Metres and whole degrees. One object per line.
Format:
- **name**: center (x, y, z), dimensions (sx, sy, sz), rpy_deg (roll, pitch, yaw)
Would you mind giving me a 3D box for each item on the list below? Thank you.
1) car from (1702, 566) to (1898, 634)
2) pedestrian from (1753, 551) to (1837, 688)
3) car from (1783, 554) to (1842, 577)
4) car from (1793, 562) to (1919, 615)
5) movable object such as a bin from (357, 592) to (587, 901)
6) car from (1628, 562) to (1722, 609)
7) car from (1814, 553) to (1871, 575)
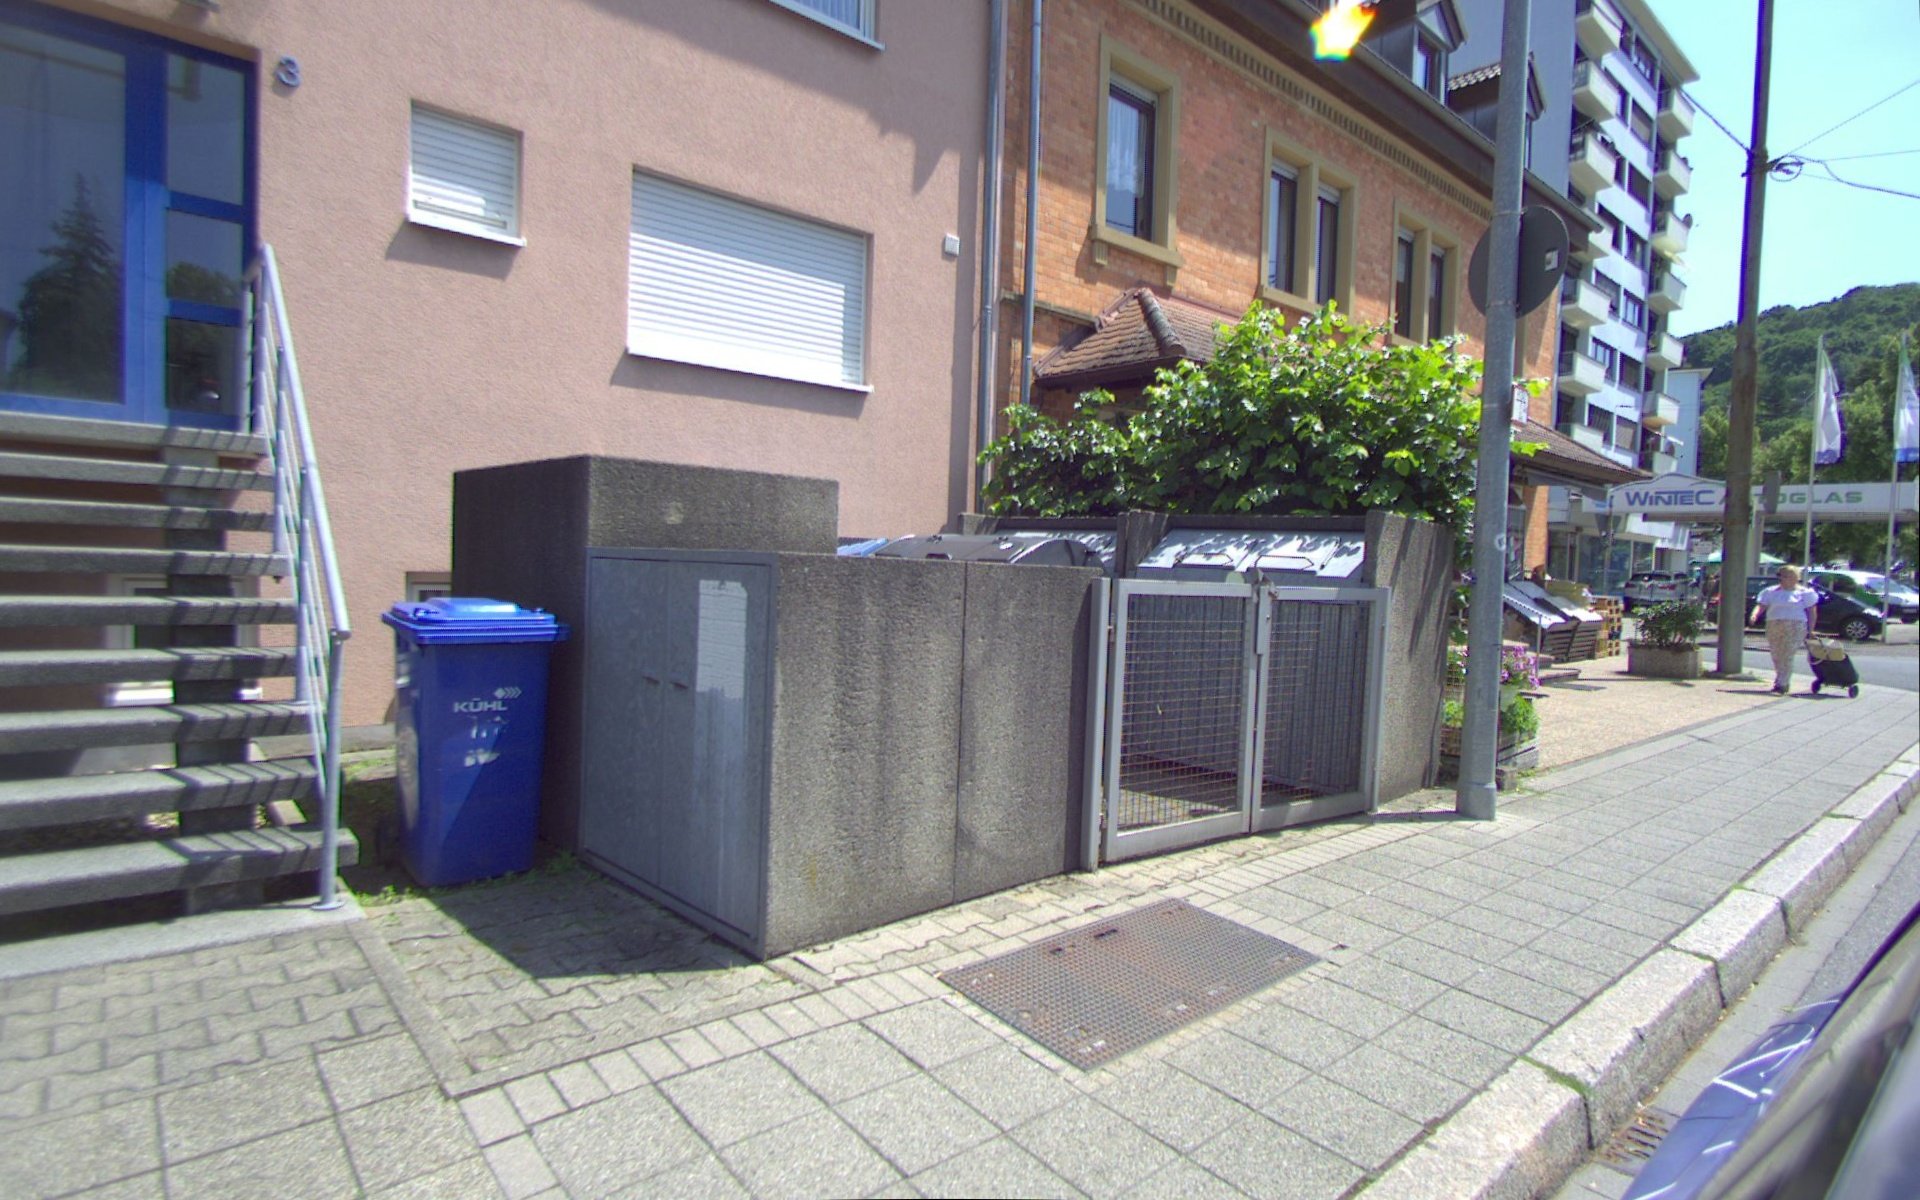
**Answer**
- **car**: center (22.221, -0.052, 27.003), dimensions (3.868, 1.561, 1.818), rpy_deg (3, 4, 37)
- **pedestrian**: center (10.691, 0.230, 12.972), dimensions (0.704, 1.661, 0.650), rpy_deg (5, 2, 40)
- **car**: center (76.933, -3.122, 91.338), dimensions (5.274, 2.038, 2.405), rpy_deg (-2, 2, -30)
- **car**: center (33.142, -0.474, 36.952), dimensions (1.788, 1.811, 4.292), rpy_deg (-1, 2, -1)
- **movable object such as a bin**: center (-1.918, 0.508, 3.978), dimensions (0.656, 1.058, 0.623), rpy_deg (-2, 2, -42)
- **car**: center (27.095, -0.552, 38.315), dimensions (4.622, 1.646, 1.750), rpy_deg (-1, 3, -40)
- **car**: center (82.560, -3.387, 94.663), dimensions (5.274, 2.038, 2.405), rpy_deg (-2, 2, -30)
